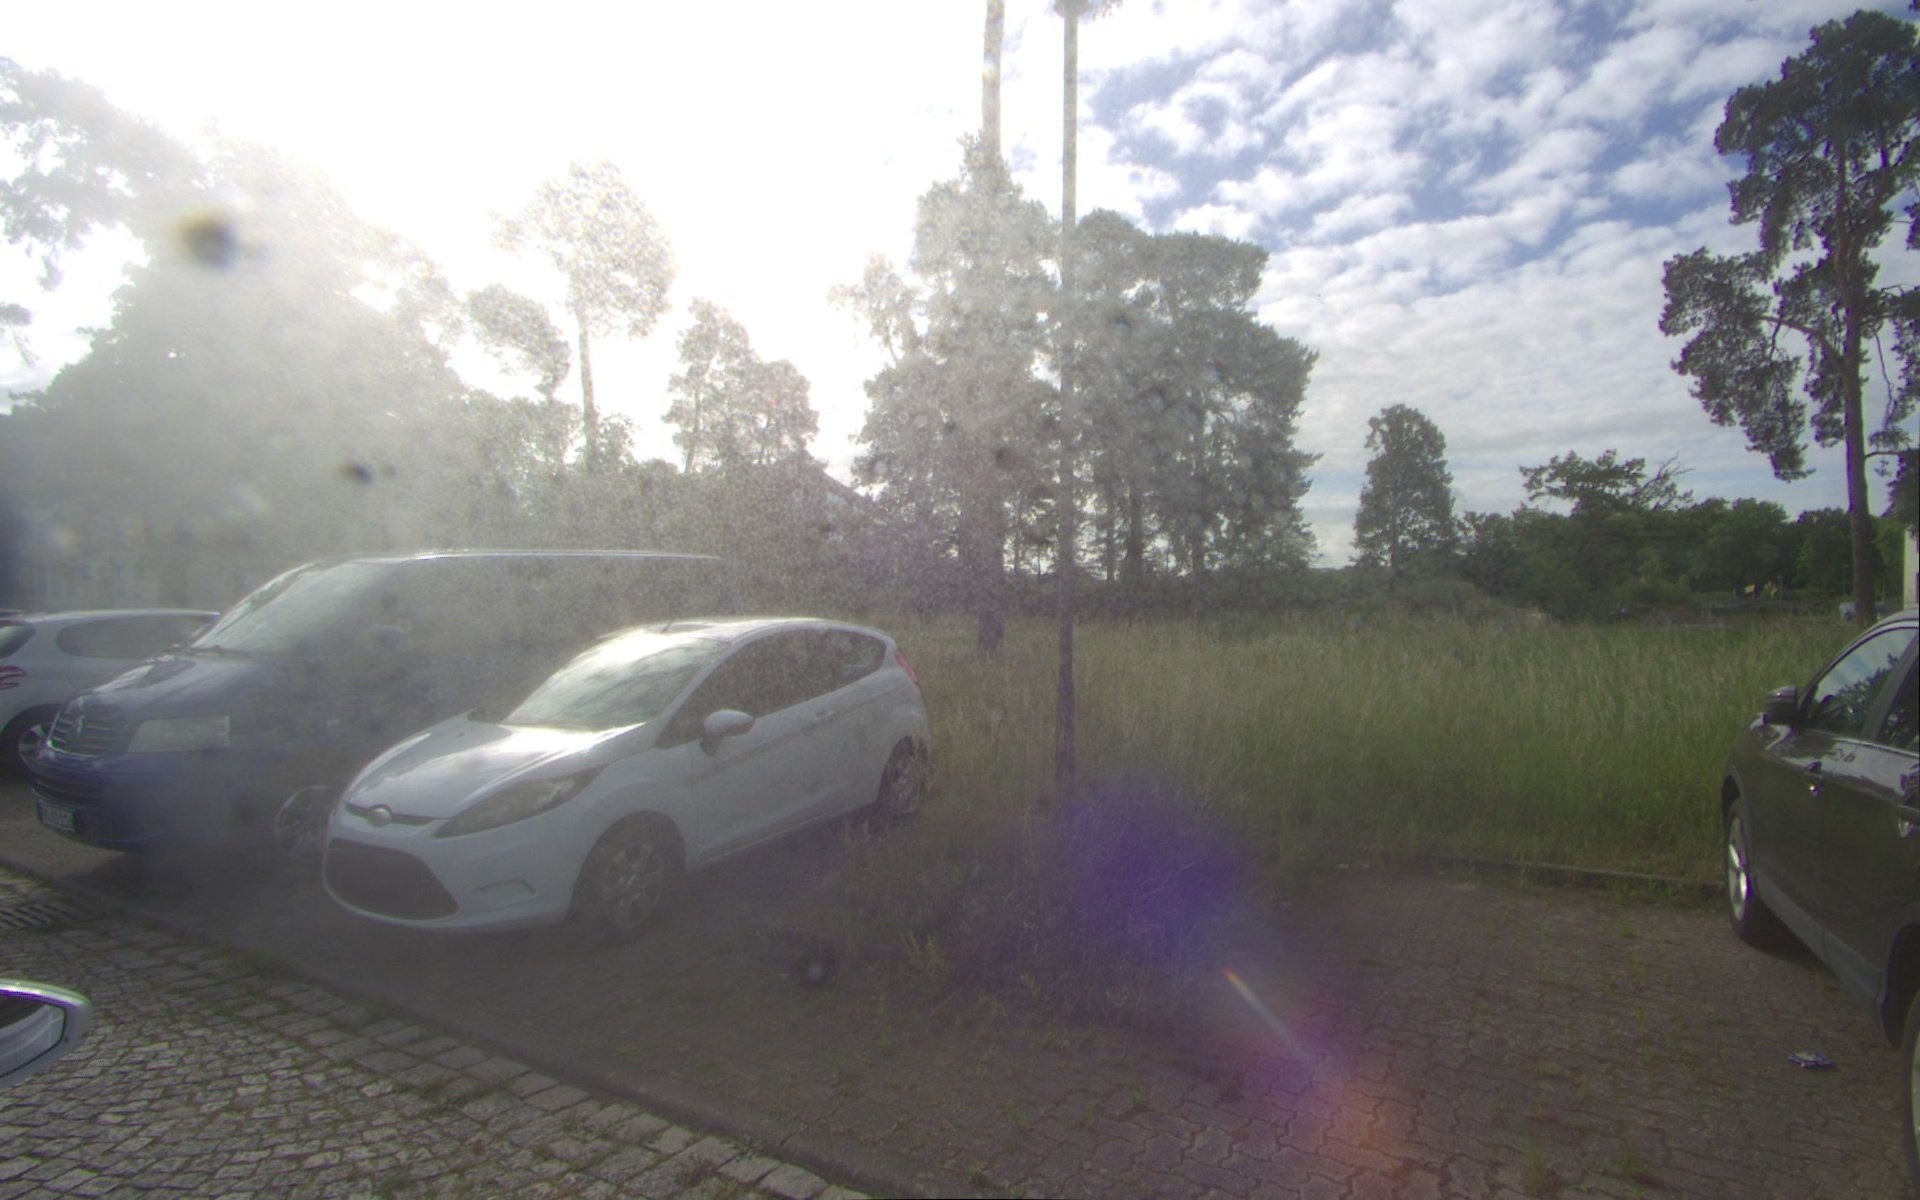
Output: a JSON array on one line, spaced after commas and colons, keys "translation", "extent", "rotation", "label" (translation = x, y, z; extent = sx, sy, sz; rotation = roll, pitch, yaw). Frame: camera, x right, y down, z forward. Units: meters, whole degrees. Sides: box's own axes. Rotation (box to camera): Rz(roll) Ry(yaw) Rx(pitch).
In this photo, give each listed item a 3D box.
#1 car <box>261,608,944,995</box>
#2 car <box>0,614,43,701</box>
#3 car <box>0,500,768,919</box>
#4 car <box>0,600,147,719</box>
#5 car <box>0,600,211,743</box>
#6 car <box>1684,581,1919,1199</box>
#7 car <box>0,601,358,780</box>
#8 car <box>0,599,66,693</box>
[{"translation": [-1.709, 0.819, 5.991], "extent": [1.629, 1.443, 3.718], "rotation": [1, 1, 28], "label": "car"}, {"translation": [-15.592, 0.862, 14.319], "extent": [1.637, 1.284, 3.292], "rotation": [1, 0, 25], "label": "car"}, {"translation": [-3.661, 0.559, 7.437], "extent": [1.712, 2.067, 4.776], "rotation": [1, 0, 30], "label": "car"}, {"translation": [-13.114, 0.766, 13.250], "extent": [1.635, 1.524, 3.296], "rotation": [1, 0, 20], "label": "car"}, {"translation": [-10.935, 0.766, 11.366], "extent": [1.635, 1.526, 3.602], "rotation": [1, 0, 20], "label": "car"}, {"translation": [3.632, 0.773, 3.036], "extent": [1.734, 1.601, 3.948], "rotation": [1, 0, 27], "label": "car"}, {"translation": [-8.231, 0.780, 10.150], "extent": [1.638, 1.524, 3.289], "rotation": [1, 0, 29], "label": "car"}, {"translation": [-17.162, 0.745, 16.007], "extent": [1.637, 1.564, 3.987], "rotation": [1, 0, 25], "label": "car"}]
